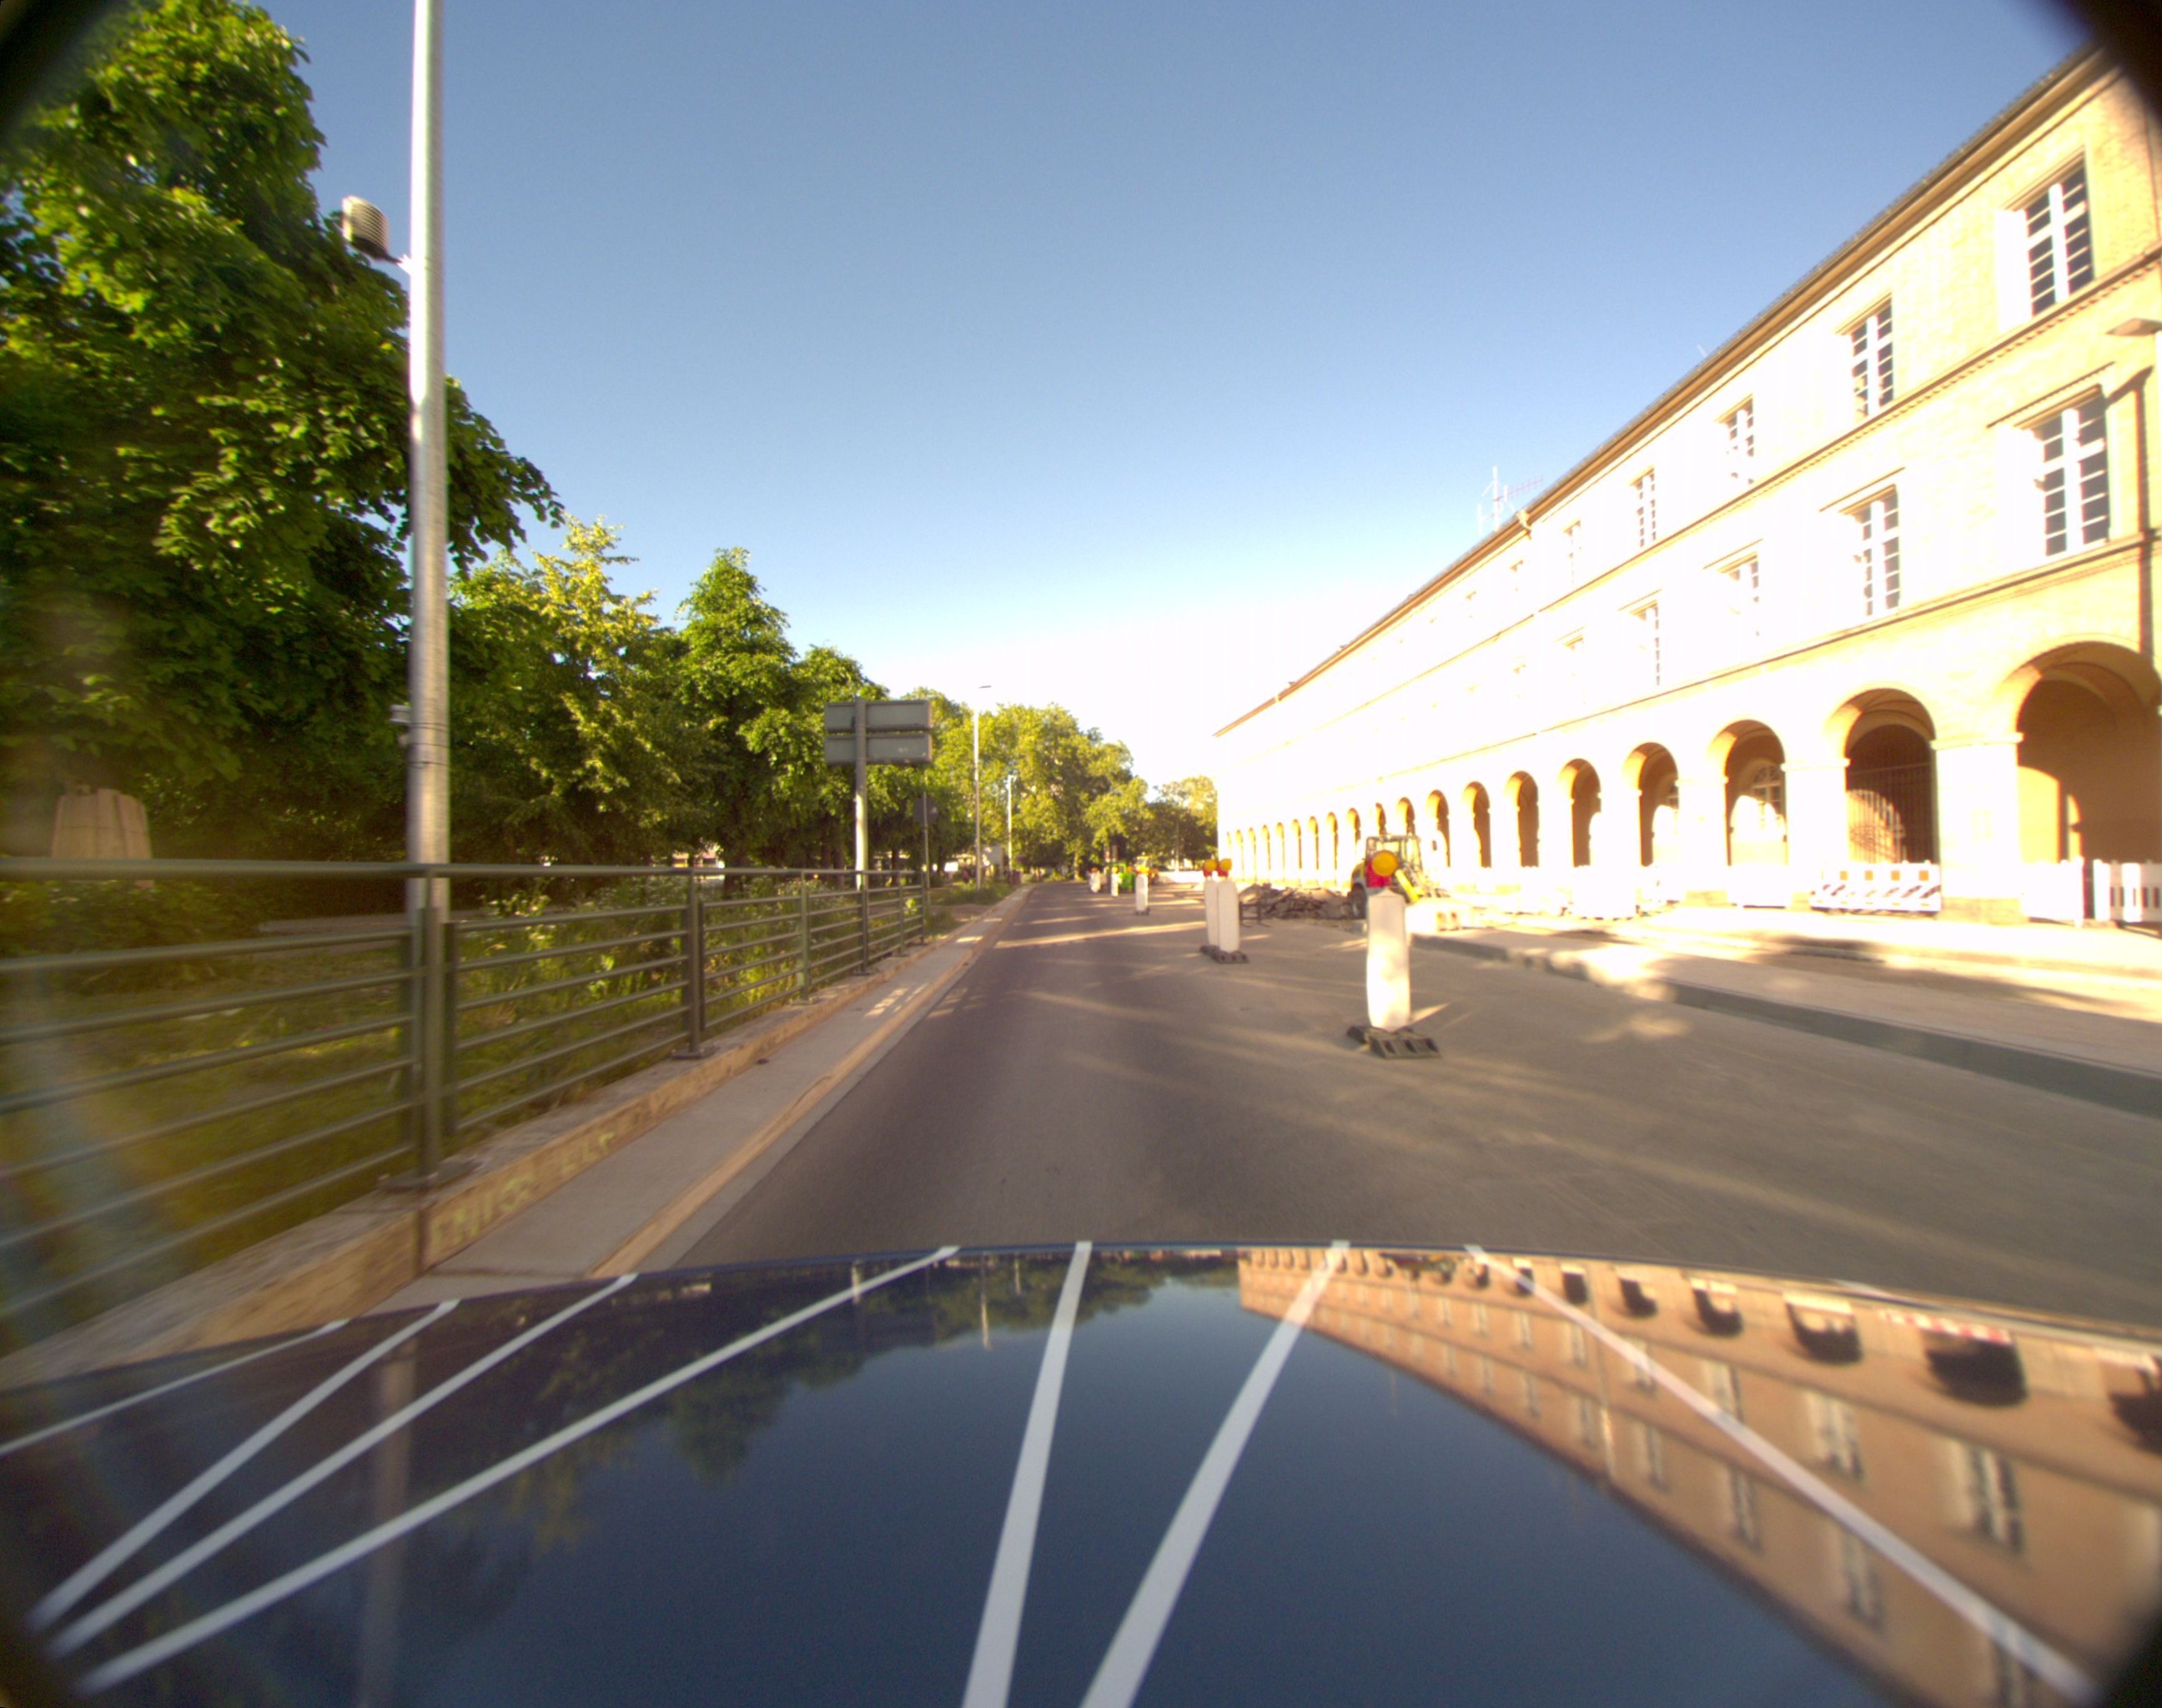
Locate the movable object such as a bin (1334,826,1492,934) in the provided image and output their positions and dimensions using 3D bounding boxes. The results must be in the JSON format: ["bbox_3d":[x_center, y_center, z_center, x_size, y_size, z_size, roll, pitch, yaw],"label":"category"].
[{"bbox_3d":[8.295,0.615,19.502,1.796,2.438,4.535,0,-1,-4],"label":"movable object such as a bin"}]

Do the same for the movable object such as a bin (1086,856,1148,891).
[{"bbox_3d":[2.145,1.151,45.949,3.245,2.064,2.108,0,-1,-14],"label":"movable object such as a bin"}]

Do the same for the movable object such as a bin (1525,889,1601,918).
[{"bbox_3d":[12.612,1.293,19.914,1.190,0.694,1.240,0,-1,-3],"label":"movable object such as a bin"}]
